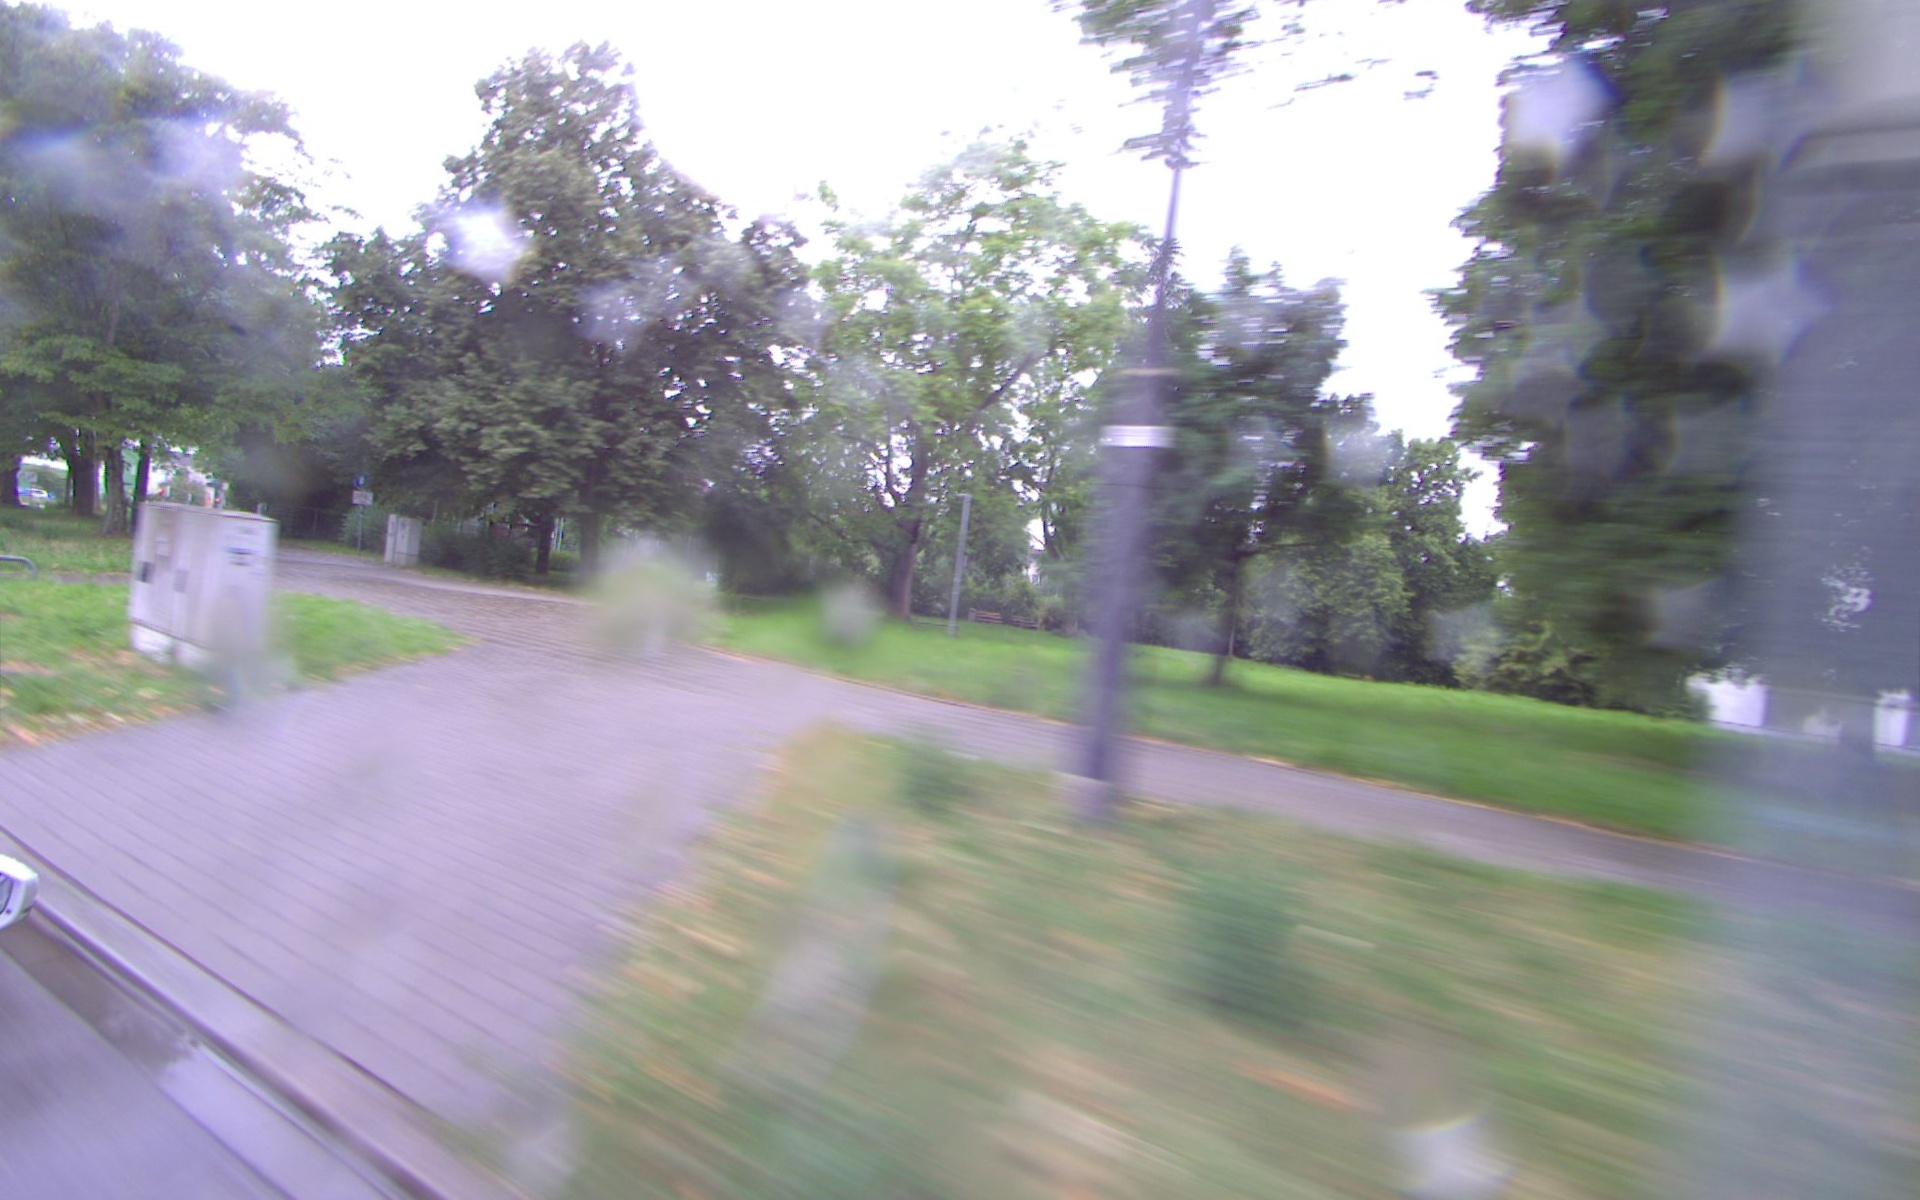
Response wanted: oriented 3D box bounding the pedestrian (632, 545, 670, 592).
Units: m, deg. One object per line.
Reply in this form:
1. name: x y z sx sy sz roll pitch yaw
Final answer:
1. pedestrian: -12.261 -1.241 39.907 0.843 1.716 1.029 7 1 44
